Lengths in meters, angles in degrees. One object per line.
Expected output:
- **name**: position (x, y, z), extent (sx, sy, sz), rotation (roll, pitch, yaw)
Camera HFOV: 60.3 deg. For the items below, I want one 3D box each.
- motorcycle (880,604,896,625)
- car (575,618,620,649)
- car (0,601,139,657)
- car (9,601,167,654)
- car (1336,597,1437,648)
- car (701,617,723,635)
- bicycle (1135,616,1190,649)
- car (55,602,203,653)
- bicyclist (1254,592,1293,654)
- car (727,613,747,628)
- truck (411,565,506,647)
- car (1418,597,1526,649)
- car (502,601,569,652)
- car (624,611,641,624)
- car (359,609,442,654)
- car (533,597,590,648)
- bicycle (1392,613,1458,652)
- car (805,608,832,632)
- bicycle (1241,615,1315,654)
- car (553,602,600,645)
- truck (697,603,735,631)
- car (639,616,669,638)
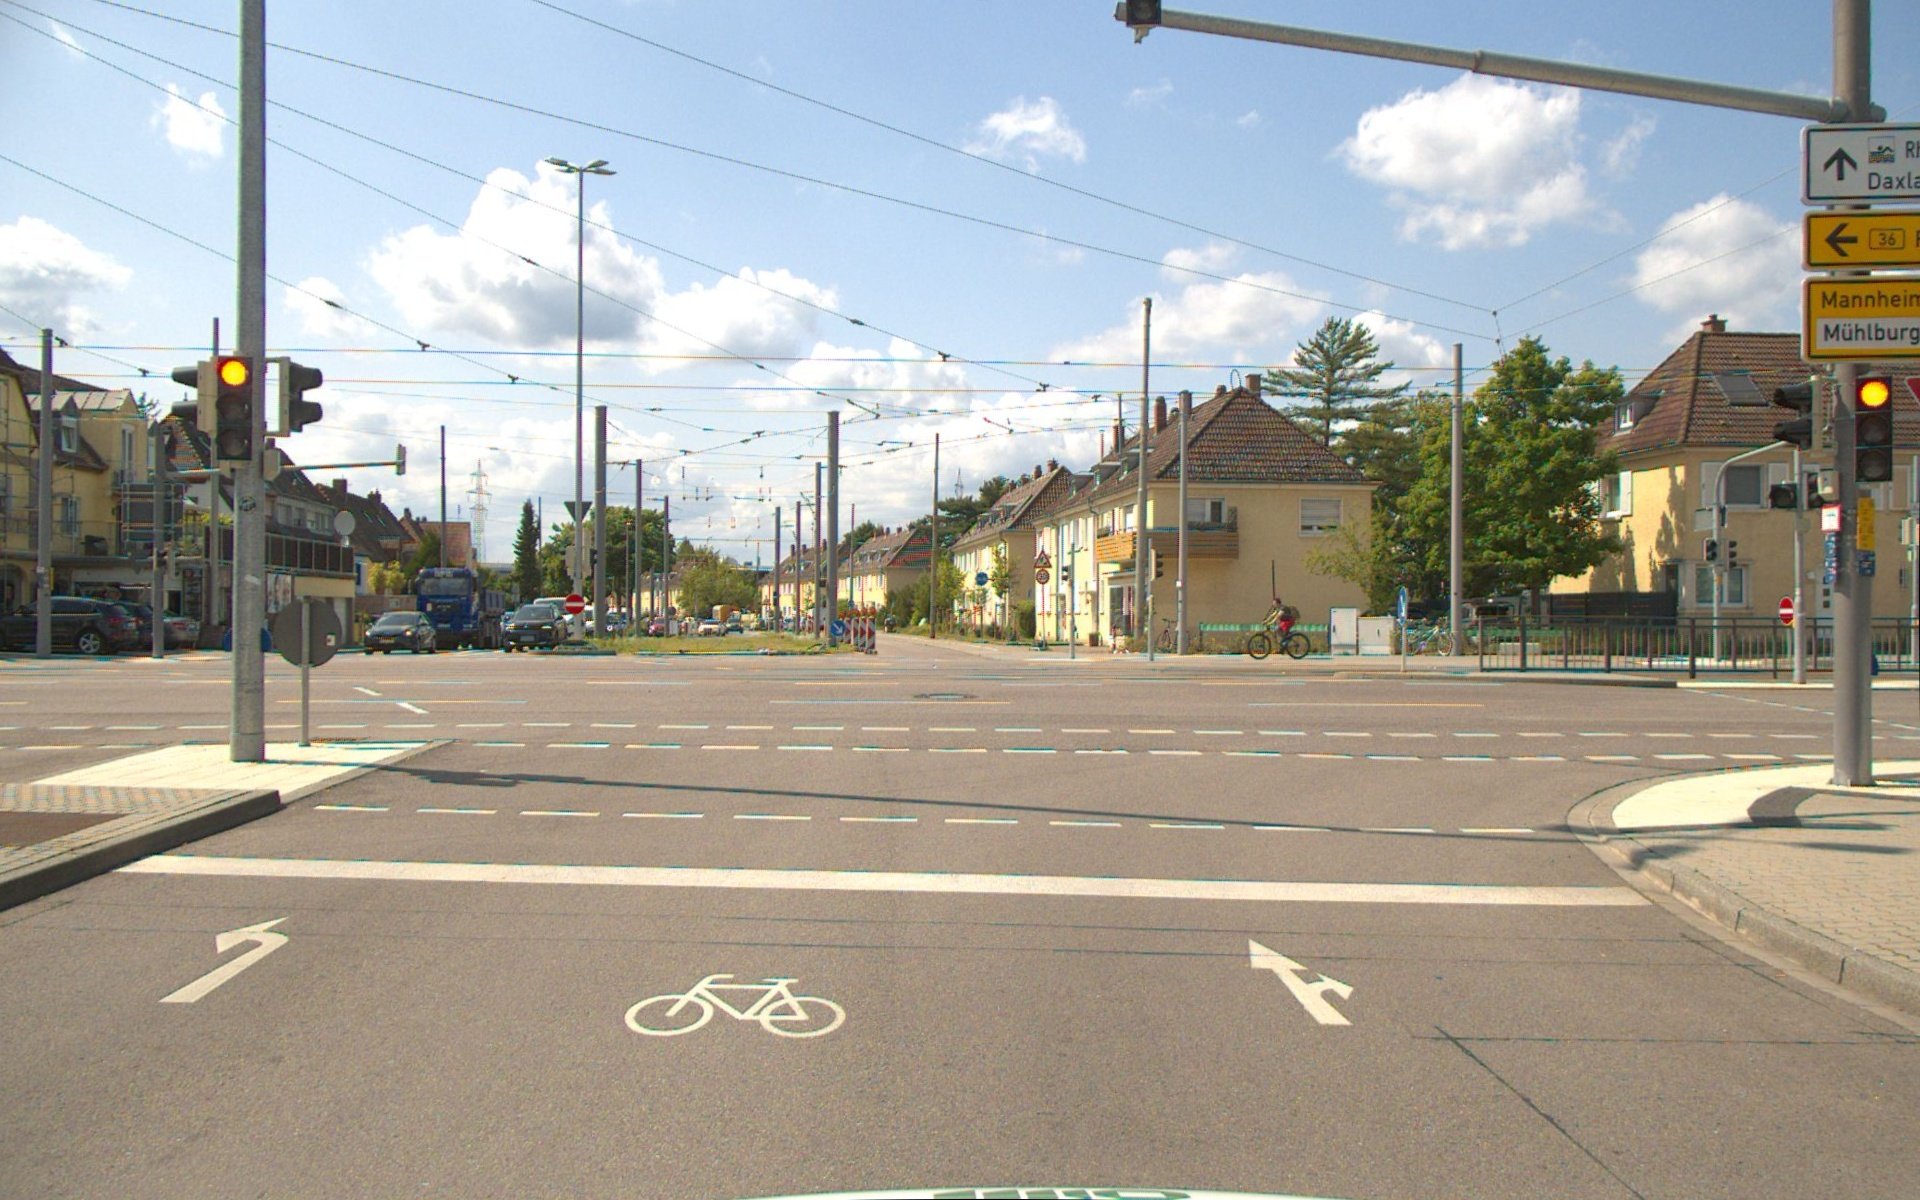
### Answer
- **motorcycle**: position (-5.773, 1.184, 131.902), extent (1.046, 1.664, 2.079), rotation (0, -1, -9)
- **car**: position (-17.627, 1.611, 80.499), extent (1.879, 1.444, 3.992), rotation (0, -1, -9)
- **car**: position (-26.818, 0.859, 49.199), extent (4.058, 1.519, 1.177), rotation (2, -1, -9)
- **car**: position (-27.299, 0.859, 51.867), extent (4.058, 1.519, 1.504), rotation (2, -1, -9)
- **car**: position (14.294, 0.793, 55.600), extent (1.789, 1.649, 3.990), rotation (0, -2, -10)
- **car**: position (-21.626, 2.258, 144.377), extent (1.808, 1.589, 4.180), rotation (0, -1, -7)
- **bicycle**: position (6.806, 1.091, 55.789), extent (0.587, 1.116, 2.253), rotation (1, -1, -31)
- **car**: position (-27.372, 0.905, 54.578), extent (4.058, 1.519, 1.432), rotation (2, -1, -9)
- **bicyclist**: position (9.123, 0.669, 48.146), extent (0.939, 1.806, 0.718), rotation (0, -1, -10)
- **car**: position (-22.989, 2.102, 170.673), extent (1.783, 1.579, 3.997), rotation (0, 0, -4)
- **truck**: position (-20.926, 0.306, 69.350), extent (2.717, 3.244, 7.567), rotation (0, -1, -9)
- **car**: position (17.056, 0.793, 55.279), extent (1.789, 1.649, 3.990), rotation (0, -2, -10)
- **car**: position (-15.173, 0.901, 59.312), extent (1.752, 1.751, 4.434), rotation (0, 0, -7)
- **car**: position (-49.793, 2.609, 251.450), extent (1.966, 1.944, 3.973), rotation (0, 0, -22)
- **car**: position (-19.494, 1.090, 57.765), extent (1.792, 1.513, 4.328), rotation (0, -1, -6)
- **car**: position (-15.792, 0.900, 65.718), extent (1.780, 1.955, 4.738), rotation (0, -1, -9)
- **bicycle**: position (13.693, 0.959, 48.723), extent (1.773, 1.124, 0.699), rotation (0, -1, 39)
- **car**: position (-13.454, 1.884, 157.040), extent (2.028, 2.187, 4.866), rotation (0, -1, -10)
- **bicycle**: position (9.210, 1.005, 47.929), extent (1.990, 1.121, 0.713), rotation (0, -1, -10)
- **car**: position (-17.020, 1.039, 73.569), extent (1.700, 1.813, 4.396), rotation (0, -1, -9)
- **truck**: position (-32.032, 2.264, 217.007), extent (2.606, 3.555, 9.366), rotation (0, -1, -24)
- **car**: position (-21.964, 1.945, 118.855), extent (1.808, 1.520, 4.848), rotation (0, -1, -7)
